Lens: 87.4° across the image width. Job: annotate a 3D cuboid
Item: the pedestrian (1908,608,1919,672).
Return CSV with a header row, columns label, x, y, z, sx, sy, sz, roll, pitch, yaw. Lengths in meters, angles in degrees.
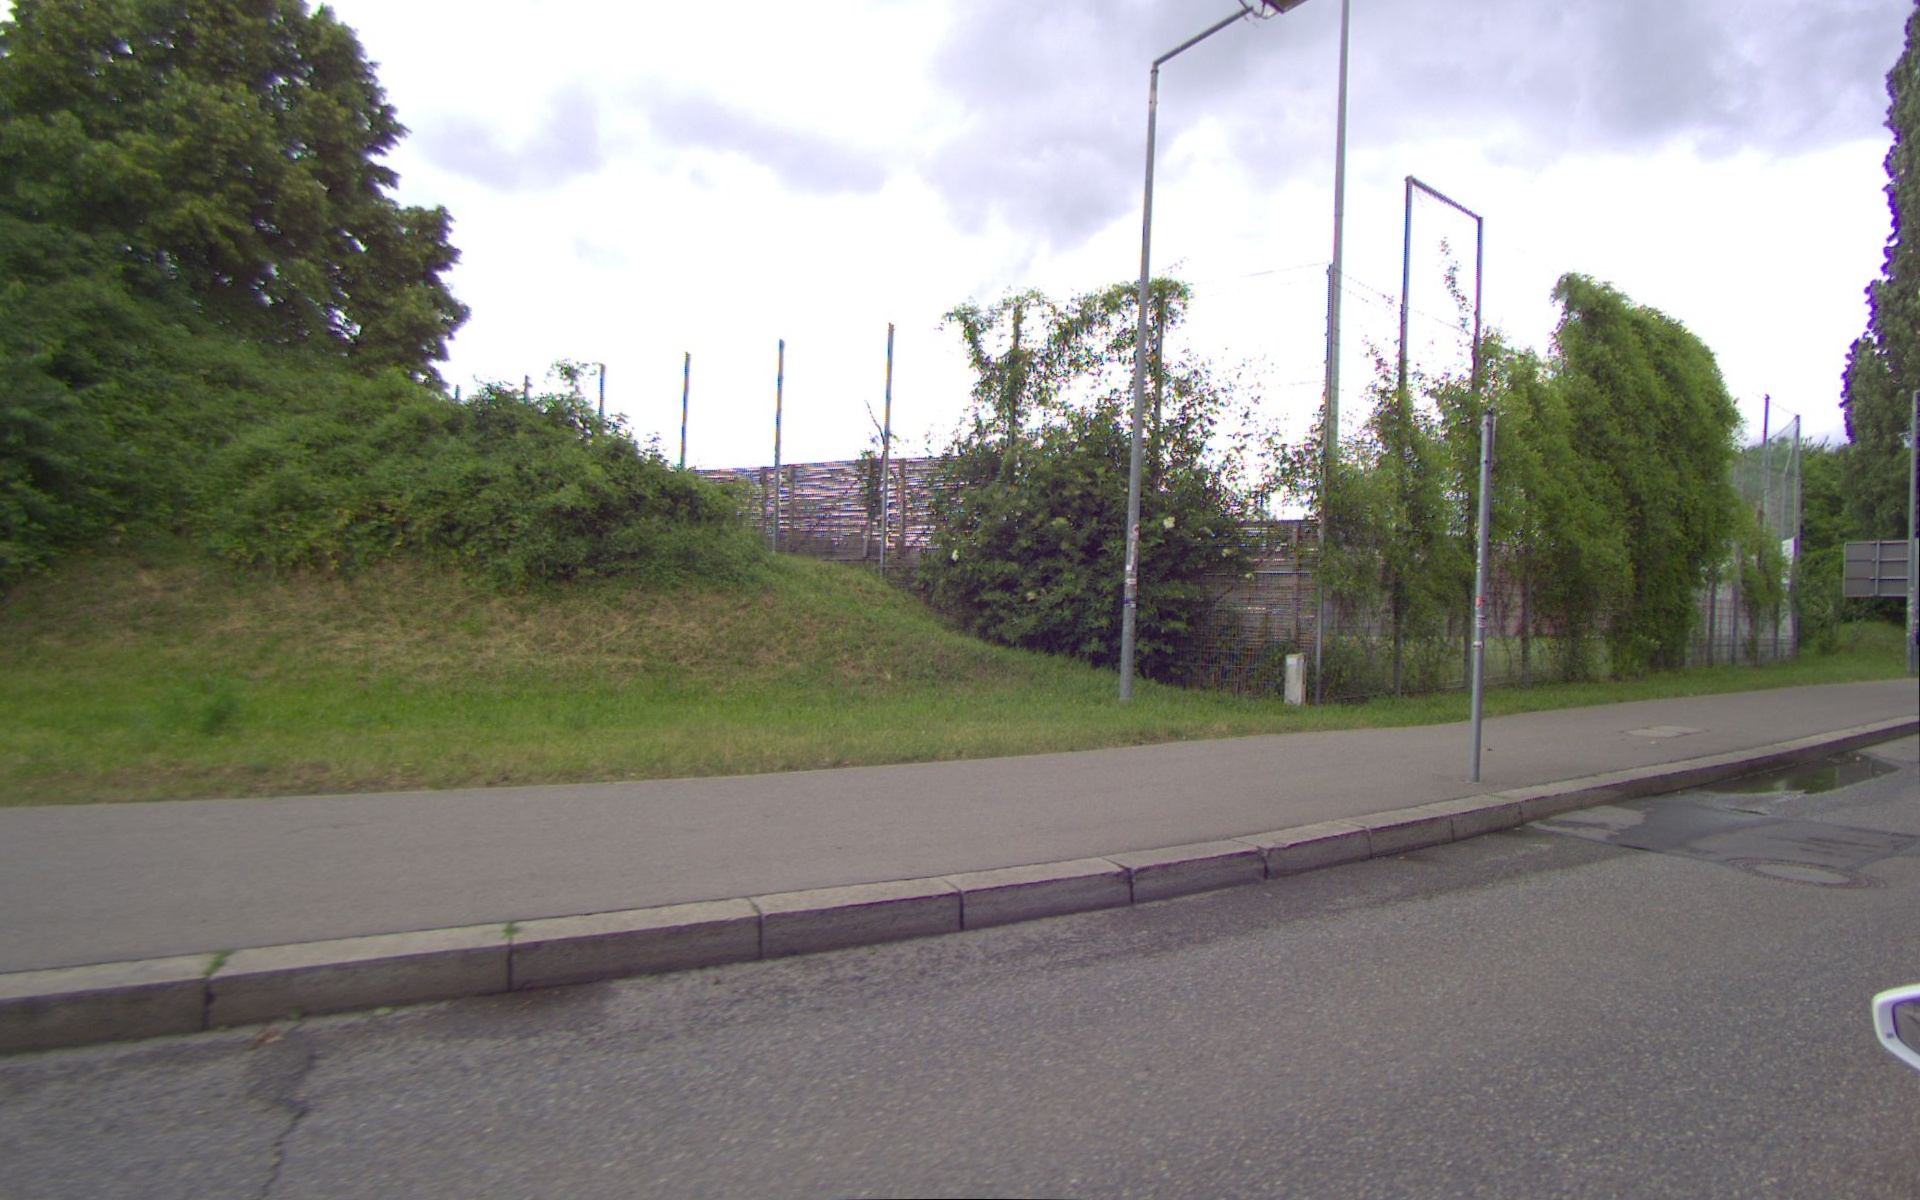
label,x,y,z,sx,sy,sz,roll,pitch,yaw
pedestrian,27.772,1.146,28.774,0.912,1.805,0.797,-1,1,-40
